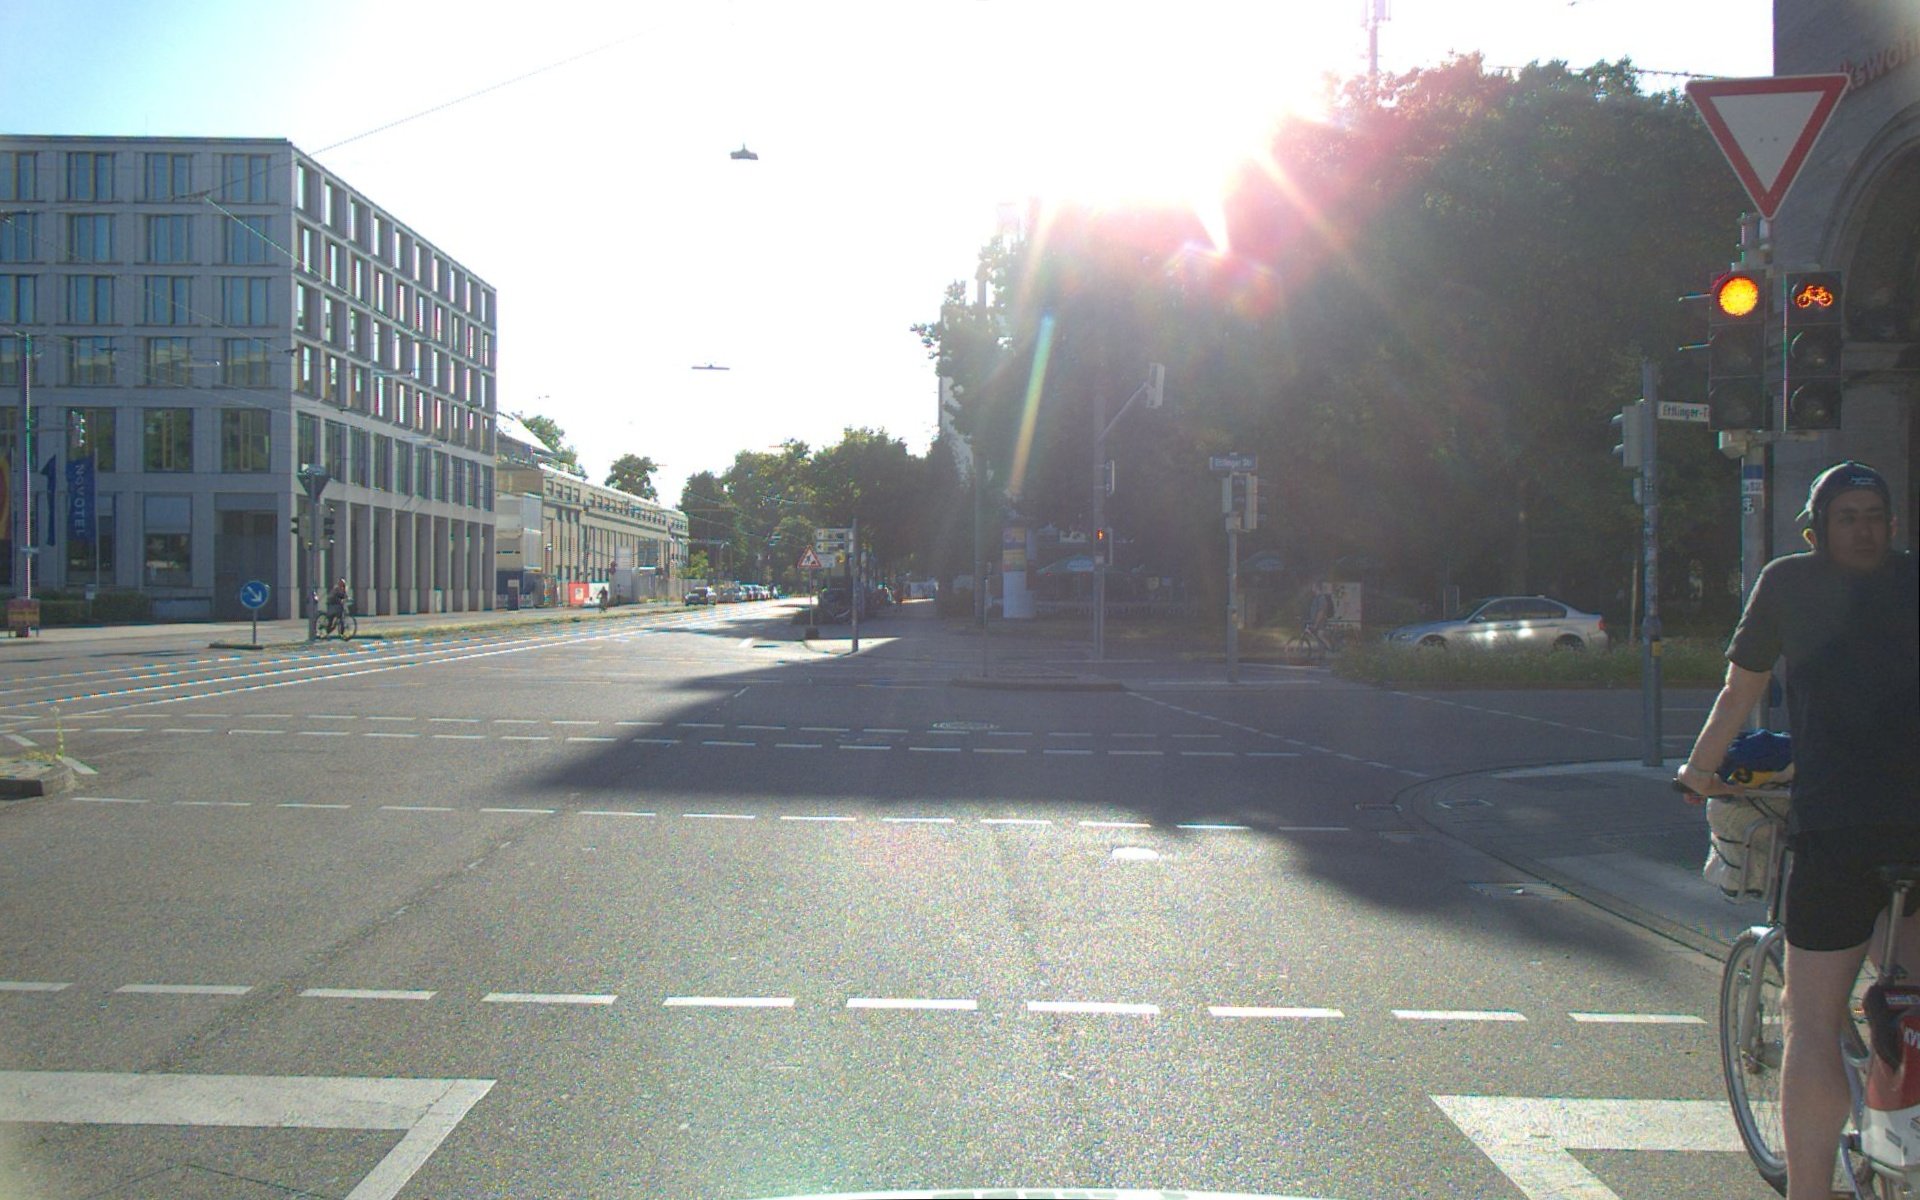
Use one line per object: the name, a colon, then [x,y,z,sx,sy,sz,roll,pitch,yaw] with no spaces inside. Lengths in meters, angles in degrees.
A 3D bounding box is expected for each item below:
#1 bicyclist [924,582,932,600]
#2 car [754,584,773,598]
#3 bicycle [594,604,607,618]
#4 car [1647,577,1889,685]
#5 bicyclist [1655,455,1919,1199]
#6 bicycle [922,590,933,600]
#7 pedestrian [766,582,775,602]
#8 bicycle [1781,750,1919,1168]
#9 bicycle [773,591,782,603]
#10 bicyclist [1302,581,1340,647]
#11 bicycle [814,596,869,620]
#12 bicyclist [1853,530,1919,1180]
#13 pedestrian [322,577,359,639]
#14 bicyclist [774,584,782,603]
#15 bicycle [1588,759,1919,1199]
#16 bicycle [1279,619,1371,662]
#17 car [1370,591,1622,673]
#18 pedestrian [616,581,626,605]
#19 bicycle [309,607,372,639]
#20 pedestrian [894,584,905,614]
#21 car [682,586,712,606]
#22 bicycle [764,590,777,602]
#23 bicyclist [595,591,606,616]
bicyclist: [-3.891,-1.083,200.096,0.875,2.049,0.746,1,-1,-12]
car: [-23.058,-1.041,194.346,1.954,1.673,3.997,0,0,-4]
bicycle: [-21.996,0.649,101.194,0.484,0.854,1.156,0,0,2]
car: [16.236,0.614,33.371,3.905,2.049,2.000,1,0,0]
bicyclist: [2.149,0.569,3.893,0.610,1.745,0.912,0,0,-2]
bicycle: [-3.914,-0.632,200.181,0.875,1.240,2.785,1,0,-12]
pedestrian: [-20.098,-0.879,175.702,0.735,2.099,1.050,1,-1,5]
bicycle: [2.892,1.013,4.380,0.570,1.062,1.747,0,0,0]
bicycle: [-19.897,-0.327,180.413,0.735,1.226,3.107,1,0,-2]
bicyclist: [7.963,0.308,36.484,0.731,1.431,0.702,1,-1,6]
bicycle: [-4.805,0.328,67.136,2.201,0.956,0.653,0,0,-6]
bicyclist: [2.892,0.693,4.345,0.572,1.769,0.950,0,0,0]
pedestrian: [-16.317,0.207,43.548,0.727,1.623,0.573,0,0,26]
bicyclist: [-19.890,-0.708,180.296,0.735,1.953,1.214,1,0,-2]
bicycle: [2.145,0.997,3.904,0.610,1.062,1.746,0,0,-2]
bicycle: [8.042,0.883,36.477,1.902,0.905,0.718,1,0,5]
car: [10.857,0.633,33.717,4.483,1.543,2.000,1,0,-1]
pedestrian: [-26.695,-0.546,130.331,0.576,1.922,0.478,1,-1,21]
bicycle: [-16.322,0.605,43.554,1.679,0.837,0.573,0,0,27]
pedestrian: [-3.558,-0.068,97.575,0.566,1.719,0.584,0,0,-8]
car: [-21.775,-0.365,137.224,1.953,1.627,3.999,0,1,-2]
bicycle: [-20.095,-0.446,175.632,0.735,1.226,3.109,1,0,5]
bicyclist: [-22.007,0.188,101.199,0.484,1.525,0.666,0,0,2]
